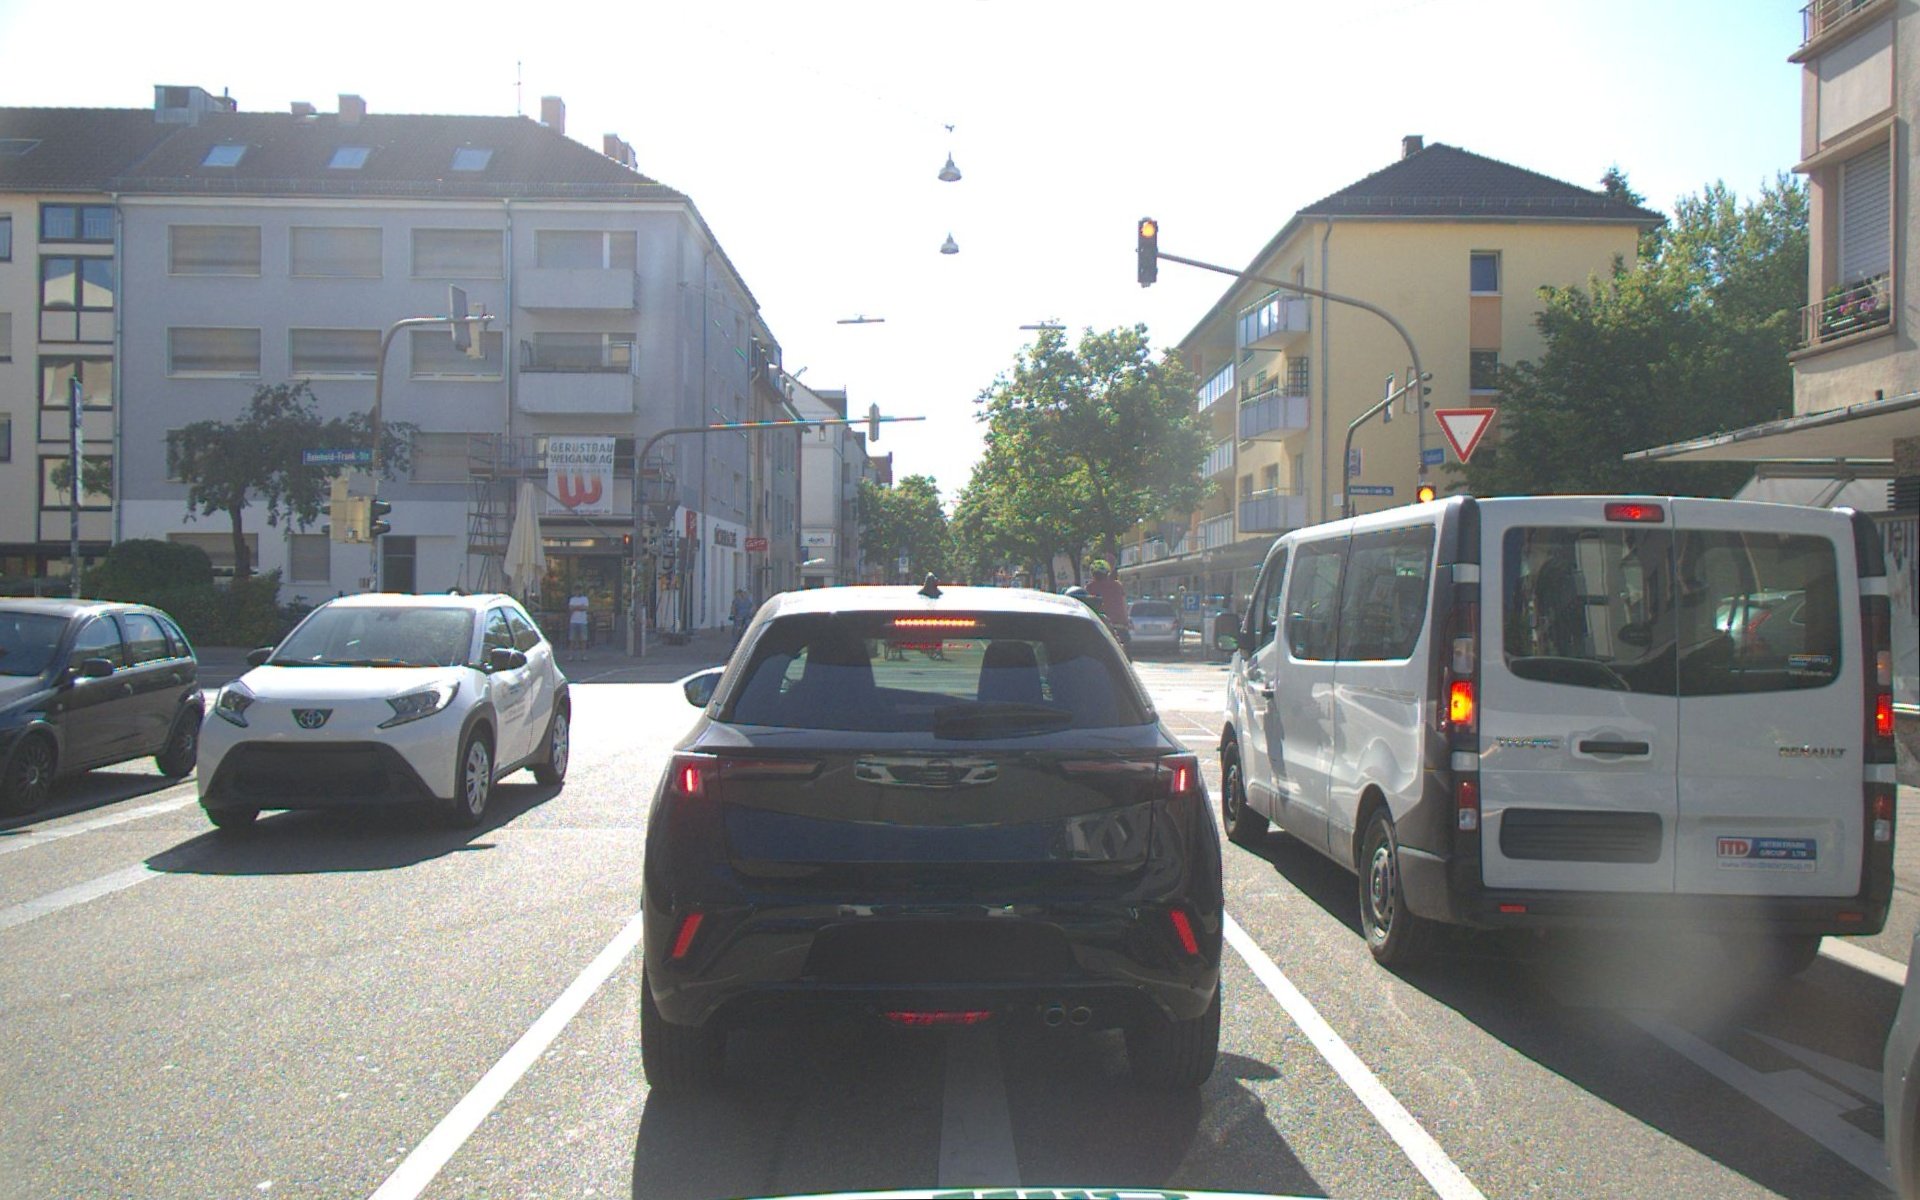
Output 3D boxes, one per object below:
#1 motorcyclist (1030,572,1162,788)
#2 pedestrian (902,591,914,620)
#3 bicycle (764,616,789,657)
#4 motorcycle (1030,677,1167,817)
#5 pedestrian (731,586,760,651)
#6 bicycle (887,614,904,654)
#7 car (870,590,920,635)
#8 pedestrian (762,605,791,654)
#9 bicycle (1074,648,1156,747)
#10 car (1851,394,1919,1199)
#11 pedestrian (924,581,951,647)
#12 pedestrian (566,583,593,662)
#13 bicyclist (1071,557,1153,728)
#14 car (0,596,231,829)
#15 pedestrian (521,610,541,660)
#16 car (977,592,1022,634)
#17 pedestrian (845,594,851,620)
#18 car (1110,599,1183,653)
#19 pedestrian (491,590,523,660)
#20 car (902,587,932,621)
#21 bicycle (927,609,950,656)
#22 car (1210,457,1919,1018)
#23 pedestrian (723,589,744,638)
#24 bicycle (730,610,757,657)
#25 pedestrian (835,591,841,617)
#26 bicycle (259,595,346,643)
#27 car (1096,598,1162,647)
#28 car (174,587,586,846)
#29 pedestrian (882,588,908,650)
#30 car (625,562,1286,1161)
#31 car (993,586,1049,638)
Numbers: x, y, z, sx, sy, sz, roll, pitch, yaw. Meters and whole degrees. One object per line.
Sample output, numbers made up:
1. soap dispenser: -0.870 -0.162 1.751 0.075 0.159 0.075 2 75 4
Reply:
1. motorcyclist: 0.991 0.566 12.295 0.846 1.528 1.159 0 0 -2
2. pedestrian: -3.015 0.316 95.504 0.558 1.719 0.588 0 0 12
3. bicycle: -4.863 0.958 43.892 0.511 1.010 2.338 0 0 -3
4. motorcycle: 0.980 1.040 12.163 0.808 0.860 1.884 0 0 -1
5. pedestrian: -5.657 0.482 43.697 0.692 1.707 0.802 0 0 -3
6. bicycle: -1.714 0.901 43.894 0.434 1.010 2.068 0 0 -3
7. car: -2.594 0.472 66.789 1.787 1.758 4.000 0 0 1
8. pedestrian: -4.805 0.776 43.424 0.692 1.275 0.802 0 0 -3
9. bicycle: 1.630 1.008 17.703 0.565 0.920 2.300 0 0 -3
10. car: 2.995 0.534 1.236 1.799 1.901 4.994 0 0 -3
11. pedestrian: -0.600 0.360 43.577 0.692 1.731 0.802 0 0 -3
12. pedestrian: -8.728 0.514 37.964 0.550 1.806 0.582 1 0 -9
13. bicyclist: 1.599 0.432 17.627 0.675 1.742 1.413 0 0 -3
14. car: -7.071 0.731 12.403 1.584 1.450 3.709 2 0 -1
15. pedestrian: -9.677 0.793 37.302 0.348 1.111 0.461 0 0 -4
16. car: 1.729 0.551 73.229 1.863 1.758 4.000 0 0 0
17. pedestrian: -7.459 0.450 110.100 0.394 1.704 0.417 0 0 -1
18. car: 5.292 0.722 47.327 1.601 1.458 3.956 0 0 -1
19. pedestrian: -10.230 0.558 37.365 0.573 1.547 0.649 0 0 -4
20. car: -2.676 0.236 104.044 1.817 2.049 3.880 0 0 -1
21. bicycle: -0.575 0.845 43.704 0.511 1.167 2.169 0 0 -3
22. car: 2.717 0.505 8.541 1.953 2.014 4.894 2 0 -1
23. pedestrian: -7.177 0.415 52.492 0.605 1.547 0.724 0 0 -4
24. bicycle: -5.717 0.872 43.809 0.511 1.167 2.282 0 0 -3
25. pedestrian: -8.121 0.255 110.329 0.394 1.704 0.417 0 0 -1
26. bicycle: -16.914 0.479 42.566 2.067 1.193 0.735 0 0 -25
27. car: 5.279 0.690 52.075 1.601 1.458 3.999 0 0 -1
28. car: -3.939 0.701 11.916 1.730 1.563 3.785 0 0 -2
29. pedestrian: -1.727 0.498 43.725 0.666 1.634 0.762 0 0 -3
30. car: -0.089 0.674 6.344 1.735 1.557 3.998 0 0 -3
31. car: 2.078 0.393 57.308 1.863 1.758 4.074 0 0 1
